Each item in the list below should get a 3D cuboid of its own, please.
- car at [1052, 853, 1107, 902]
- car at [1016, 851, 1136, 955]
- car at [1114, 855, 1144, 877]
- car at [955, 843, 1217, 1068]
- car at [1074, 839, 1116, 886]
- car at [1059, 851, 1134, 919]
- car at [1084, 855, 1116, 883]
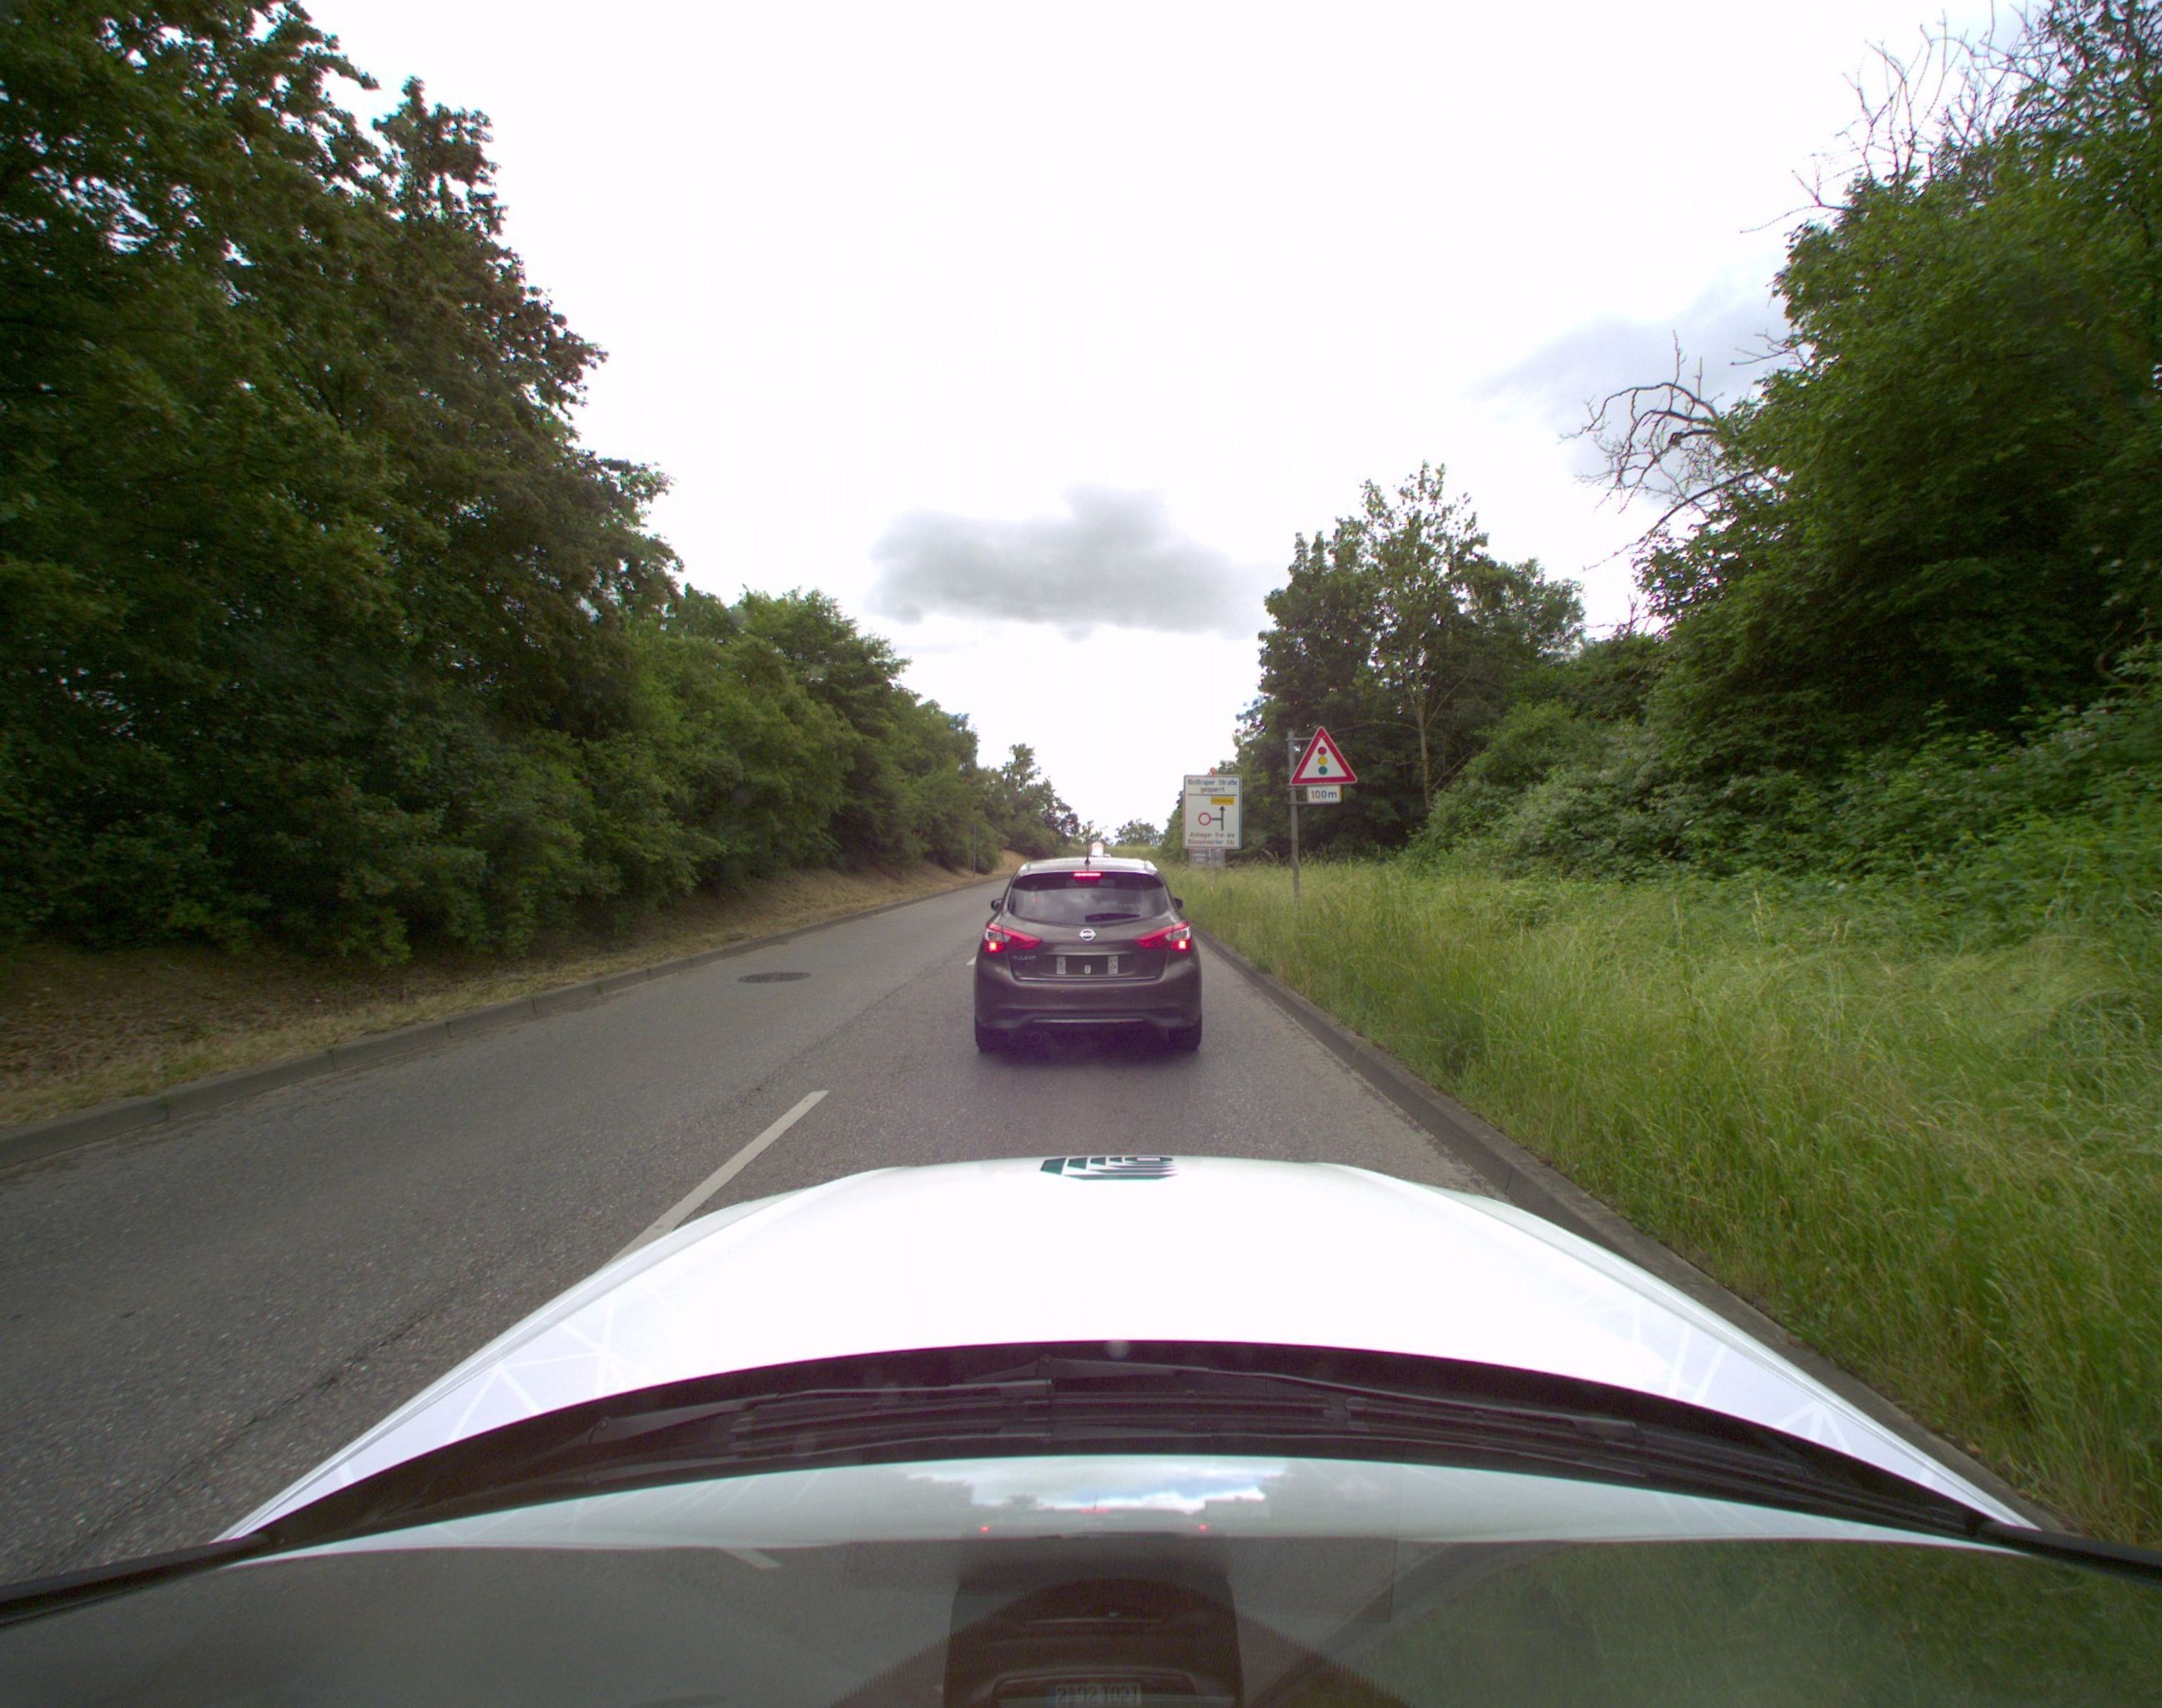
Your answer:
[{"bbox_3d":[0.011,0.774,28.619,1.729,1.556,3.545,-1,0,2],"label":"car"},{"bbox_3d":[-0.011,0.758,14.422,1.823,1.556,3.626,-1,0,2],"label":"car"},{"bbox_3d":[3.672,0.865,61.554,1.725,1.526,3.652,-2,0,11],"label":"car"},{"bbox_3d":[0.047,0.718,7.505,1.824,1.556,3.499,-1,0,0],"label":"car"},{"bbox_3d":[0.604,0.372,35.901,1.730,1.935,3.543,-1,0,0],"label":"car"},{"bbox_3d":[0.424,0.734,21.005,1.729,1.556,3.545,-1,0,2],"label":"car"},{"bbox_3d":[1.077,0.825,46.326,1.730,1.526,3.544,-1,0,1],"label":"car"}]
